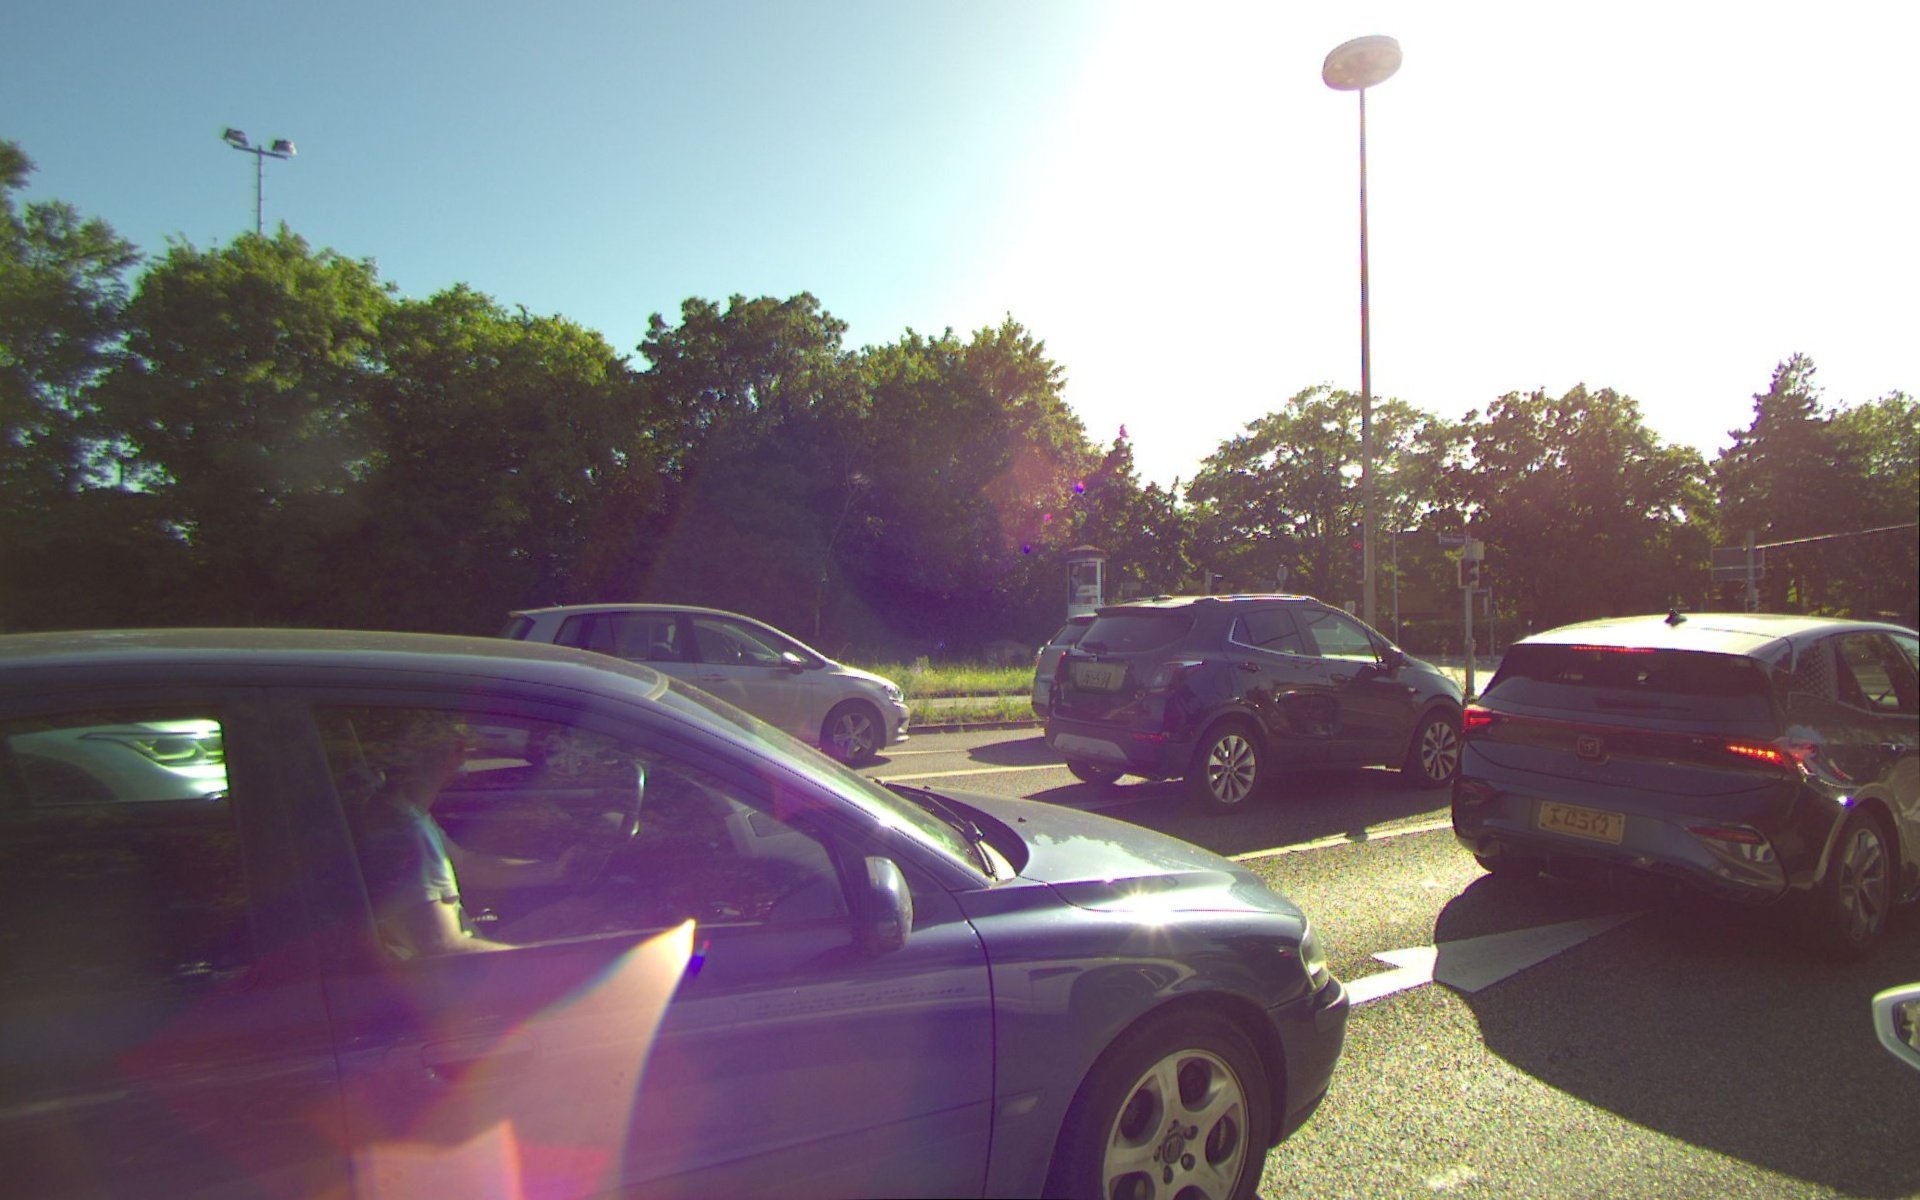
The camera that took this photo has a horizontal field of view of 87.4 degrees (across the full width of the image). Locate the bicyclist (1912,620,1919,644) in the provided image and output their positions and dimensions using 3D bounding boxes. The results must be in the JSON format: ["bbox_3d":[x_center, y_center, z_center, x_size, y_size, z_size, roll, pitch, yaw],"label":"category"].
[{"bbox_3d":[65.759,2.197,68.538,1.187,1.670,0.870,1,-2,-34],"label":"bicyclist"}]

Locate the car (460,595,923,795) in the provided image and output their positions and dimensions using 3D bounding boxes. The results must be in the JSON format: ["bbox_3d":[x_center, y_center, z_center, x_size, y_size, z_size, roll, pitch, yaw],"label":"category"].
[{"bbox_3d":[-2.617,0.834,10.014,4.156,1.632,1.822,1,-2,-30],"label":"car"}]

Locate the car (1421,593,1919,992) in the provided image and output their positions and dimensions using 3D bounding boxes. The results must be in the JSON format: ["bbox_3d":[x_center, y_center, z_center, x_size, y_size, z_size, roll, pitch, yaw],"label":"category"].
[{"bbox_3d":[4.736,0.827,5.823,4.158,1.601,1.676,2,-1,-30],"label":"car"}]

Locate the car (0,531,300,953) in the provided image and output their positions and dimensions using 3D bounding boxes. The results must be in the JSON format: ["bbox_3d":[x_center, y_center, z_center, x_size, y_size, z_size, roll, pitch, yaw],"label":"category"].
[{"bbox_3d":[-5.559,0.590,4.337,4.373,1.732,1.984,1,-2,-30],"label":"car"}]

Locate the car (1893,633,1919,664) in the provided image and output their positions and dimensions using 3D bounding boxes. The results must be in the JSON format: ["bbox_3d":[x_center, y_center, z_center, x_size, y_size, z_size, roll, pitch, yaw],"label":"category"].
[{"bbox_3d":[49.969,2.486,51.826,3.959,1.529,1.677,1,-2,-32],"label":"car"}]

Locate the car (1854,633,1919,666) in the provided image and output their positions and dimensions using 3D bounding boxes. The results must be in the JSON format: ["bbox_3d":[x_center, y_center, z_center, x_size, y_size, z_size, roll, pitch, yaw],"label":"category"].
[{"bbox_3d":[44.685,2.334,48.102,3.956,1.529,1.678,1,-2,-30],"label":"car"}]

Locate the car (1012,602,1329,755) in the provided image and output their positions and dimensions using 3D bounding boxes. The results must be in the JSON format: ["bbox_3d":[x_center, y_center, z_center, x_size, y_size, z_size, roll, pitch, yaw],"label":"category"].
[{"bbox_3d":[2.807,0.951,13.189,3.956,1.724,1.820,1,-2,-32],"label":"car"}]

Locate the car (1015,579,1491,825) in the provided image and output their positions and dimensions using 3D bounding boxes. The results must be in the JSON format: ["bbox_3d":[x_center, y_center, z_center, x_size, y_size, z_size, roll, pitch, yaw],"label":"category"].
[{"bbox_3d":[2.616,0.768,8.802,3.953,1.711,1.796,1,-2,-30],"label":"car"}]

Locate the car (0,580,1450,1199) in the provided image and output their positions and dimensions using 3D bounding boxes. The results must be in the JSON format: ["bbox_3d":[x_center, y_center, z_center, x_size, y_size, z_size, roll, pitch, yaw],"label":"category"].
[{"bbox_3d":[-1.101,0.725,2.209,4.404,1.471,1.767,2,0,-30],"label":"car"}]
